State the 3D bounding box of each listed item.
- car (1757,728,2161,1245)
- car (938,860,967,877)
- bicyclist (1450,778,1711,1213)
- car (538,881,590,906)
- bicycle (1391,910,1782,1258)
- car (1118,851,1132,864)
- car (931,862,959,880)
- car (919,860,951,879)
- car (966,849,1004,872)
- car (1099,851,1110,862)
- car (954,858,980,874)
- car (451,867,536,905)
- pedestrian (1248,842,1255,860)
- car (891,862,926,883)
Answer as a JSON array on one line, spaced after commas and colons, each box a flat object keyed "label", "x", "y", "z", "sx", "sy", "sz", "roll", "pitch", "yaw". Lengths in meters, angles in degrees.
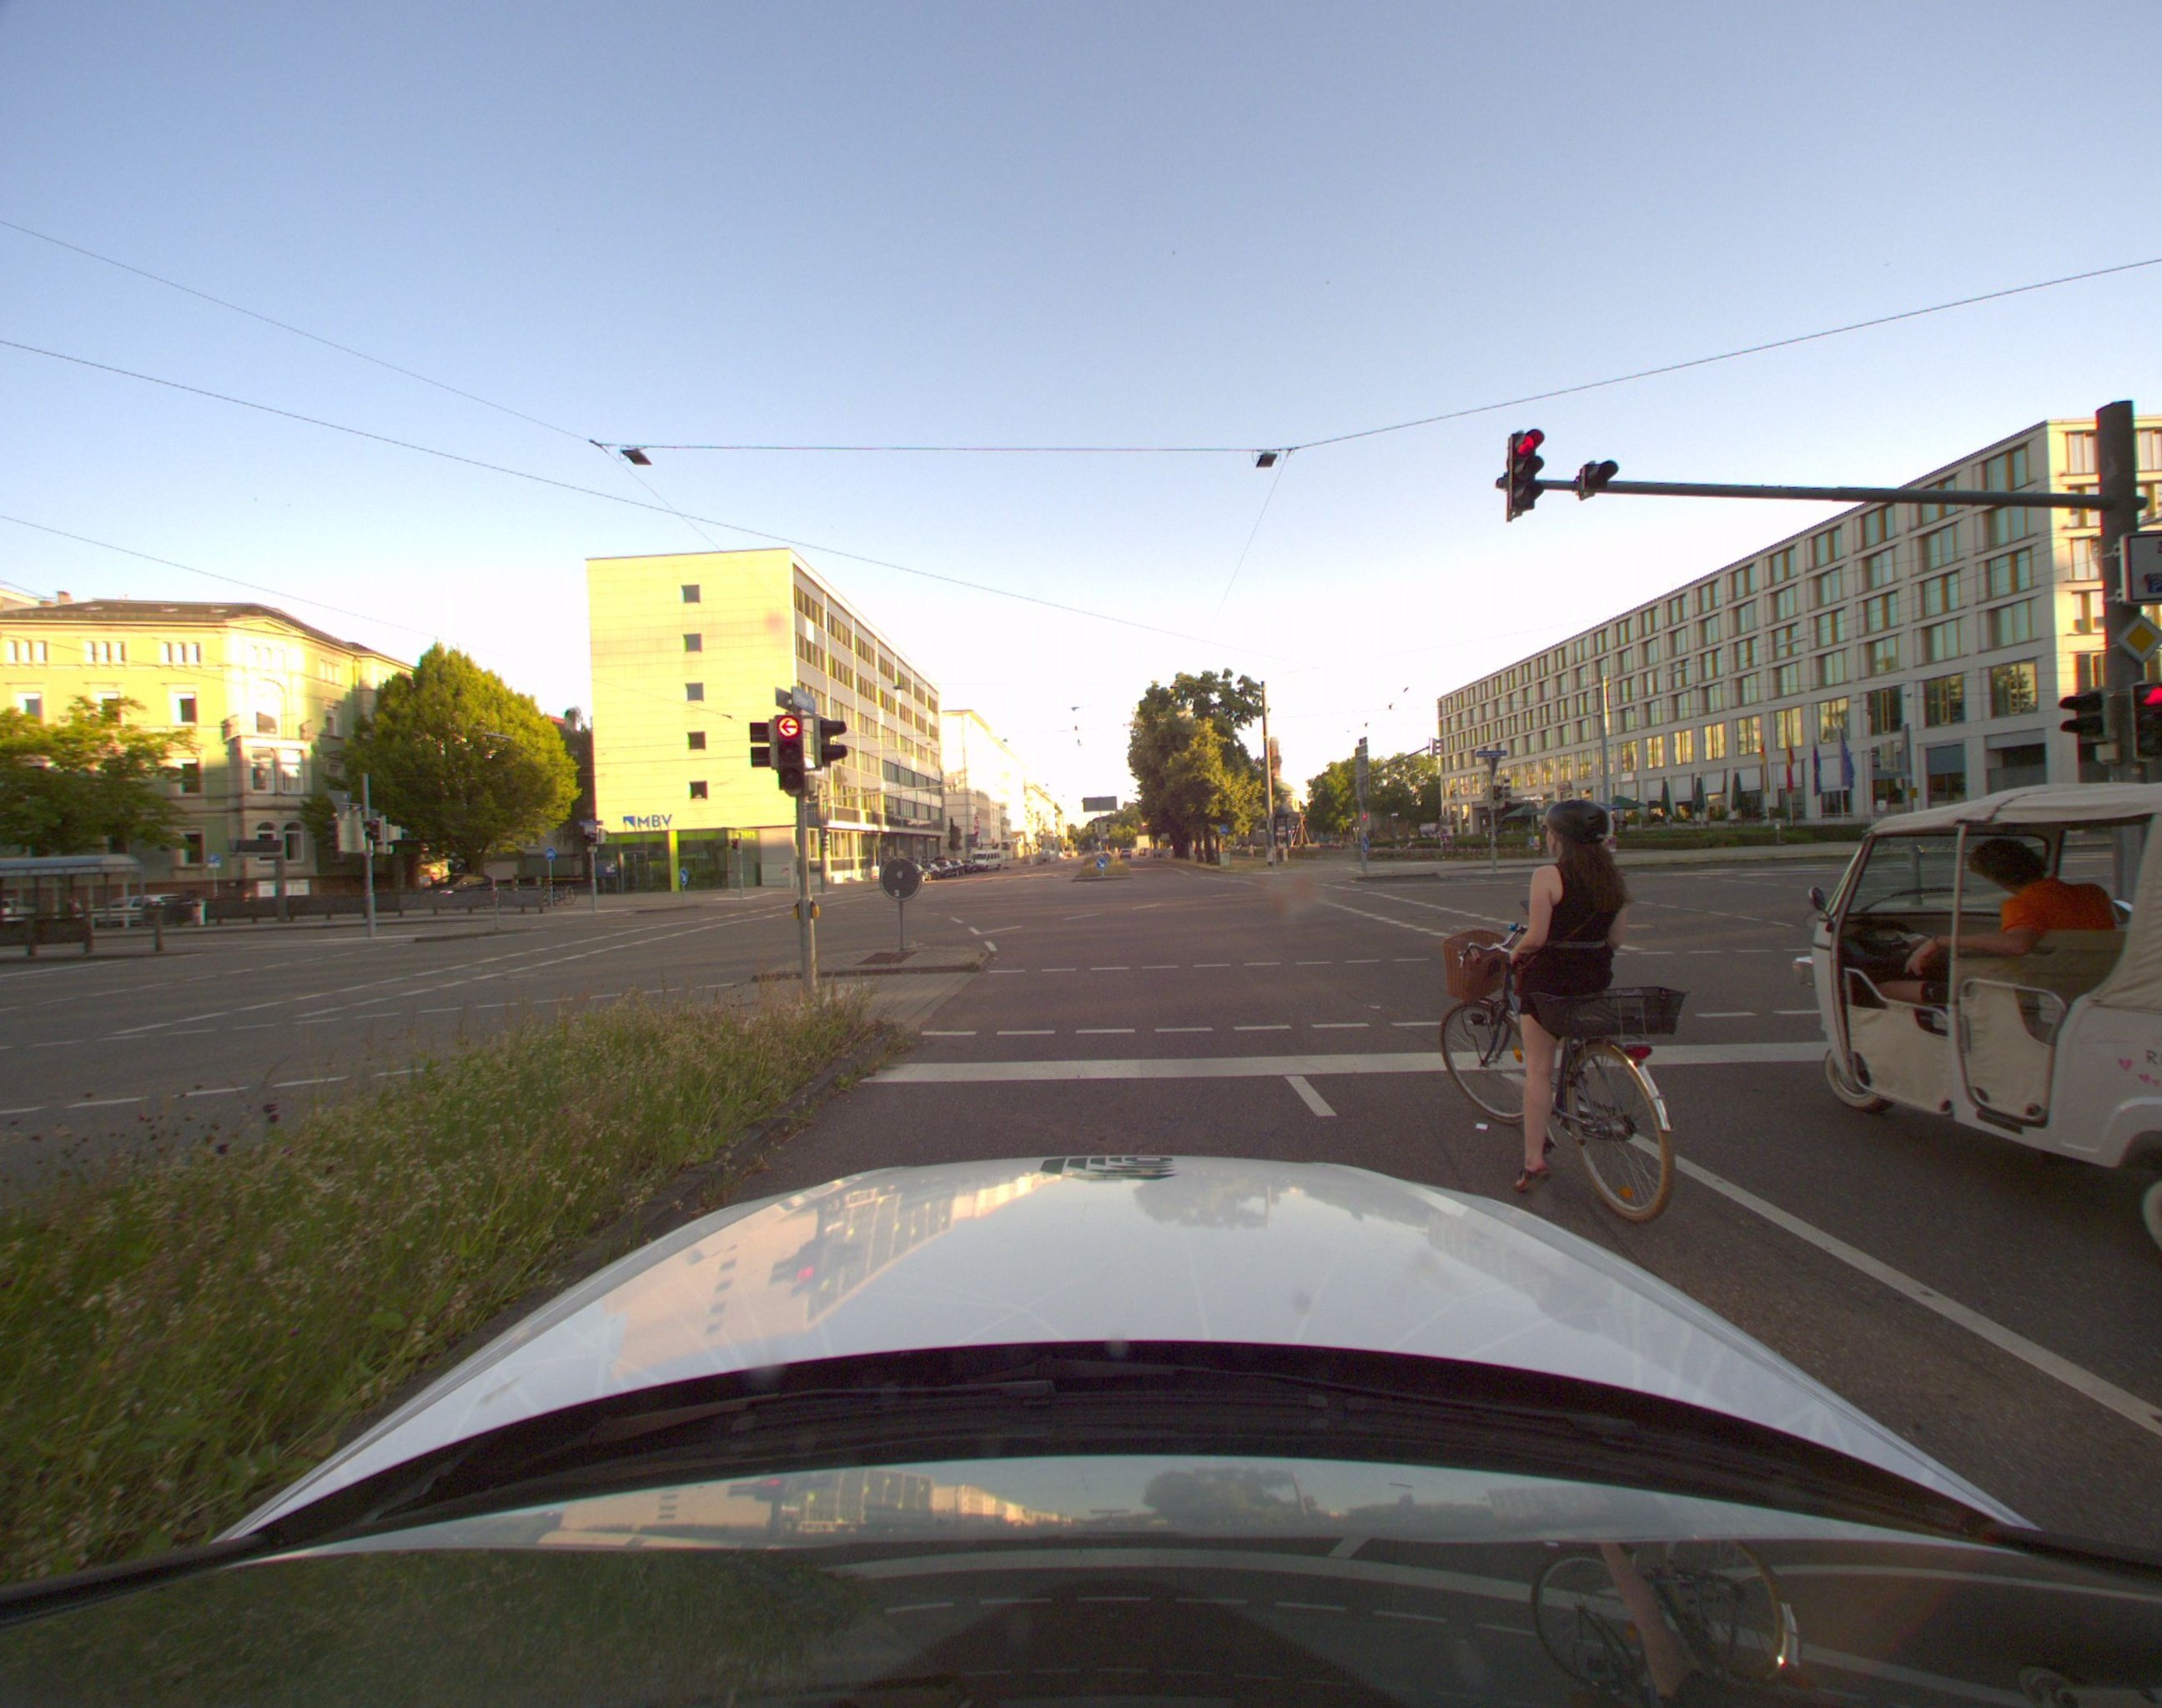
[{"label": "car", "x": 4.465, "y": 0.424, "z": 3.278, "sx": 1.453, "sy": 1.780, "sz": 2.568, "roll": -2, "pitch": 1, "yaw": 4}, {"label": "car", "x": -12.590, "y": 1.468, "z": 80.093, "sx": 1.787, "sy": 1.475, "sz": 4.006, "roll": -3, "pitch": -2, "yaw": 6}, {"label": "bicyclist", "x": 2.144, "y": 0.561, "z": 3.597, "sx": 0.626, "sy": 1.693, "sz": 0.749, "roll": -3, "pitch": 0, "yaw": 1}, {"label": "car", "x": -25.690, "y": 1.958, "z": 40.534, "sx": 0.850, "sy": 1.073, "sz": 2.522, "roll": -3, "pitch": 0, "yaw": 1}, {"label": "bicycle", "x": 2.177, "y": 0.885, "z": 3.912, "sx": 0.635, "sy": 1.069, "sz": 2.070, "roll": -2, "pitch": 0, "yaw": 2}, {"label": "car", "x": 7.027, "y": 0.571, "z": 131.135, "sx": 1.986, "sy": 2.013, "sz": 4.001, "roll": -3, "pitch": 0, "yaw": 1}, {"label": "car", "x": -12.449, "y": 1.598, "z": 74.718, "sx": 1.789, "sy": 1.475, "sz": 4.000, "roll": -3, "pitch": -2, "yaw": 1}, {"label": "car", "x": -12.445, "y": 1.389, "z": 69.667, "sx": 1.789, "sy": 1.475, "sz": 4.000, "roll": -3, "pitch": -2, "yaw": 1}, {"label": "car", "x": -10.916, "y": 0.740, "z": 93.059, "sx": 2.161, "sy": 2.385, "sz": 6.010, "roll": -3, "pitch": -2, "yaw": 13}, {"label": "car", "x": 4.279, "y": 0.467, "z": 150.059, "sx": 1.986, "sy": 1.816, "sz": 4.001, "roll": -3, "pitch": 0, "yaw": 1}, {"label": "car", "x": -12.031, "y": 1.299, "z": 86.486, "sx": 1.787, "sy": 1.475, "sz": 4.005, "roll": -3, "pitch": -2, "yaw": 5}, {"label": "car", "x": -34.809, "y": 1.865, "z": 48.379, "sx": 1.986, "sy": 2.013, "sz": 4.001, "roll": -3, "pitch": 0, "yaw": 1}, {"label": "pedestrian", "x": 16.803, "y": -0.298, "z": 80.356, "sx": 0.506, "sy": 1.668, "sz": 0.531, "roll": -3, "pitch": 0, "yaw": 1}, {"label": "car", "x": -13.436, "y": 1.470, "z": 63.610, "sx": 1.789, "sy": 1.475, "sz": 4.000, "roll": -3, "pitch": -2, "yaw": 1}]
